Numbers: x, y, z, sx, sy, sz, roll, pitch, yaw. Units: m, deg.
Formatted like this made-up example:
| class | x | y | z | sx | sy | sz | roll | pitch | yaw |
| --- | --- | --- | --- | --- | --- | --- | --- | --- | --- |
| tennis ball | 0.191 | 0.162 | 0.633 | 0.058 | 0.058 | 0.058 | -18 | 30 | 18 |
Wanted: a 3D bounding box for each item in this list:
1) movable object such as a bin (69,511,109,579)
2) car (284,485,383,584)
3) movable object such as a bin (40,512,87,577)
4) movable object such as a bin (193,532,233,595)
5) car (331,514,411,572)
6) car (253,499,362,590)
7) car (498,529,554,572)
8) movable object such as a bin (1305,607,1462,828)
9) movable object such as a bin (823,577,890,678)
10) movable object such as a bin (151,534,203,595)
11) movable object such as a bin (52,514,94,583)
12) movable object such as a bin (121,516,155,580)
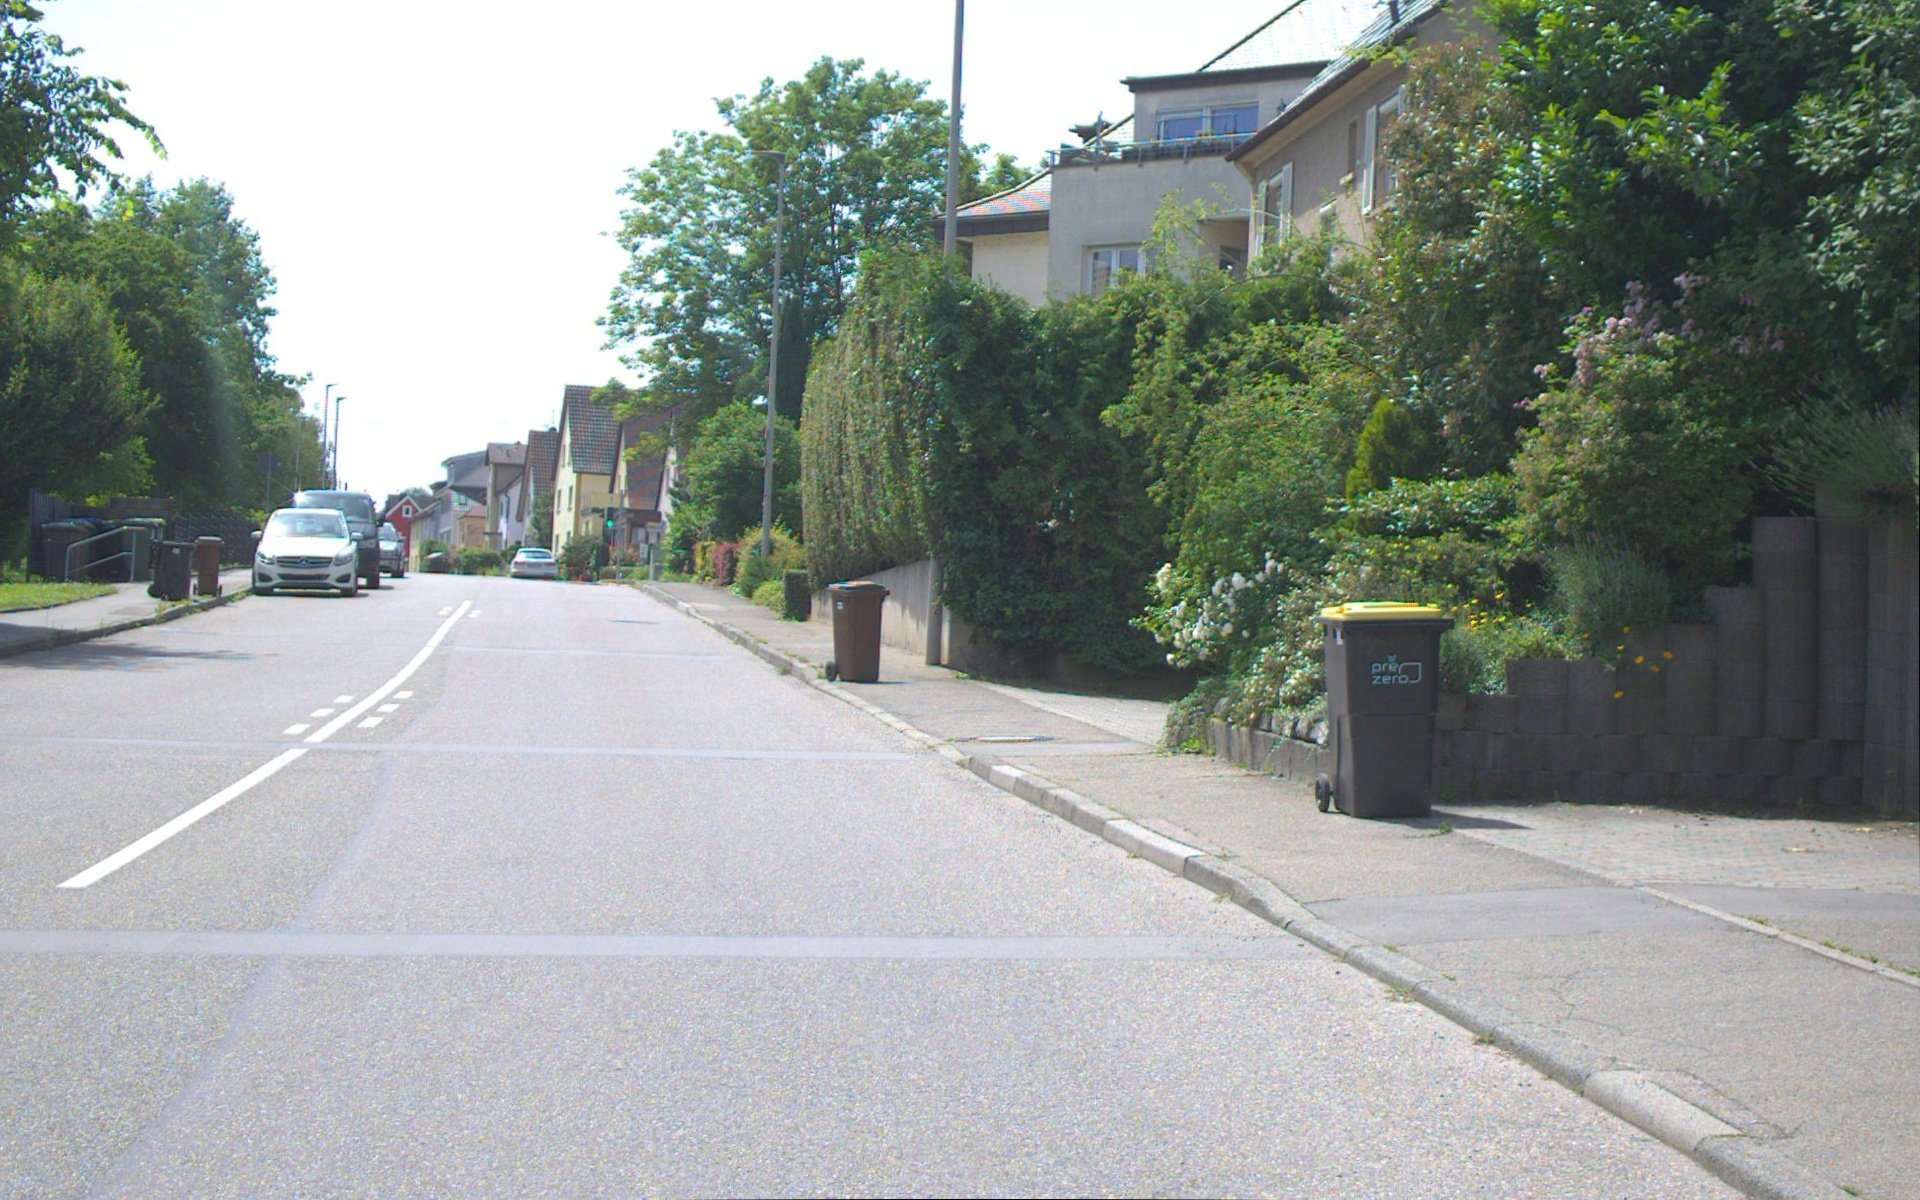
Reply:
| class | x | y | z | sx | sy | sz | roll | pitch | yaw |
| --- | --- | --- | --- | --- | --- | --- | --- | --- | --- |
| movable object such as a bin | -15.328 | -0.970 | 60.509 | 0.476 | 1.174 | 0.840 | 2 | 1 | -2 |
| car | -12.756 | -1.359 | 70.174 | 1.896 | 1.913 | 4.872 | 1 | 1 | -10 |
| movable object such as a bin | -15.353 | -0.945 | 58.900 | 0.602 | 1.092 | 0.650 | 2 | 1 | -1 |
| movable object such as a bin | -11.969 | -0.589 | 55.078 | 0.506 | 0.985 | 0.563 | 2 | 1 | -1 |
| car | -14.890 | -1.431 | 87.060 | 1.780 | 1.389 | 4.410 | 1 | 0 | -7 |
| car | -11.889 | -1.036 | 62.816 | 1.810 | 1.544 | 4.244 | 2 | 1 | -9 |
| car | -16.959 | -1.942 | 134.213 | 1.993 | 1.598 | 4.001 | 2 | 1 | -9 |
| movable object such as a bin | 2.128 | 0.581 | 17.354 | 0.588 | 1.055 | 0.920 | 1 | 1 | -5 |
| movable object such as a bin | -1.025 | 0.264 | 33.896 | 0.588 | 0.974 | 0.786 | 0 | 1 | -7 |
| movable object such as a bin | -11.928 | -0.542 | 52.387 | 0.619 | 0.914 | 0.686 | 2 | 1 | -1 |
| movable object such as a bin | -15.390 | -0.890 | 59.657 | 0.546 | 1.174 | 0.674 | 2 | 1 | -2 |
| movable object such as a bin | -14.419 | -0.916 | 60.324 | 0.516 | 1.100 | 0.530 | 1 | 1 | -8 |
